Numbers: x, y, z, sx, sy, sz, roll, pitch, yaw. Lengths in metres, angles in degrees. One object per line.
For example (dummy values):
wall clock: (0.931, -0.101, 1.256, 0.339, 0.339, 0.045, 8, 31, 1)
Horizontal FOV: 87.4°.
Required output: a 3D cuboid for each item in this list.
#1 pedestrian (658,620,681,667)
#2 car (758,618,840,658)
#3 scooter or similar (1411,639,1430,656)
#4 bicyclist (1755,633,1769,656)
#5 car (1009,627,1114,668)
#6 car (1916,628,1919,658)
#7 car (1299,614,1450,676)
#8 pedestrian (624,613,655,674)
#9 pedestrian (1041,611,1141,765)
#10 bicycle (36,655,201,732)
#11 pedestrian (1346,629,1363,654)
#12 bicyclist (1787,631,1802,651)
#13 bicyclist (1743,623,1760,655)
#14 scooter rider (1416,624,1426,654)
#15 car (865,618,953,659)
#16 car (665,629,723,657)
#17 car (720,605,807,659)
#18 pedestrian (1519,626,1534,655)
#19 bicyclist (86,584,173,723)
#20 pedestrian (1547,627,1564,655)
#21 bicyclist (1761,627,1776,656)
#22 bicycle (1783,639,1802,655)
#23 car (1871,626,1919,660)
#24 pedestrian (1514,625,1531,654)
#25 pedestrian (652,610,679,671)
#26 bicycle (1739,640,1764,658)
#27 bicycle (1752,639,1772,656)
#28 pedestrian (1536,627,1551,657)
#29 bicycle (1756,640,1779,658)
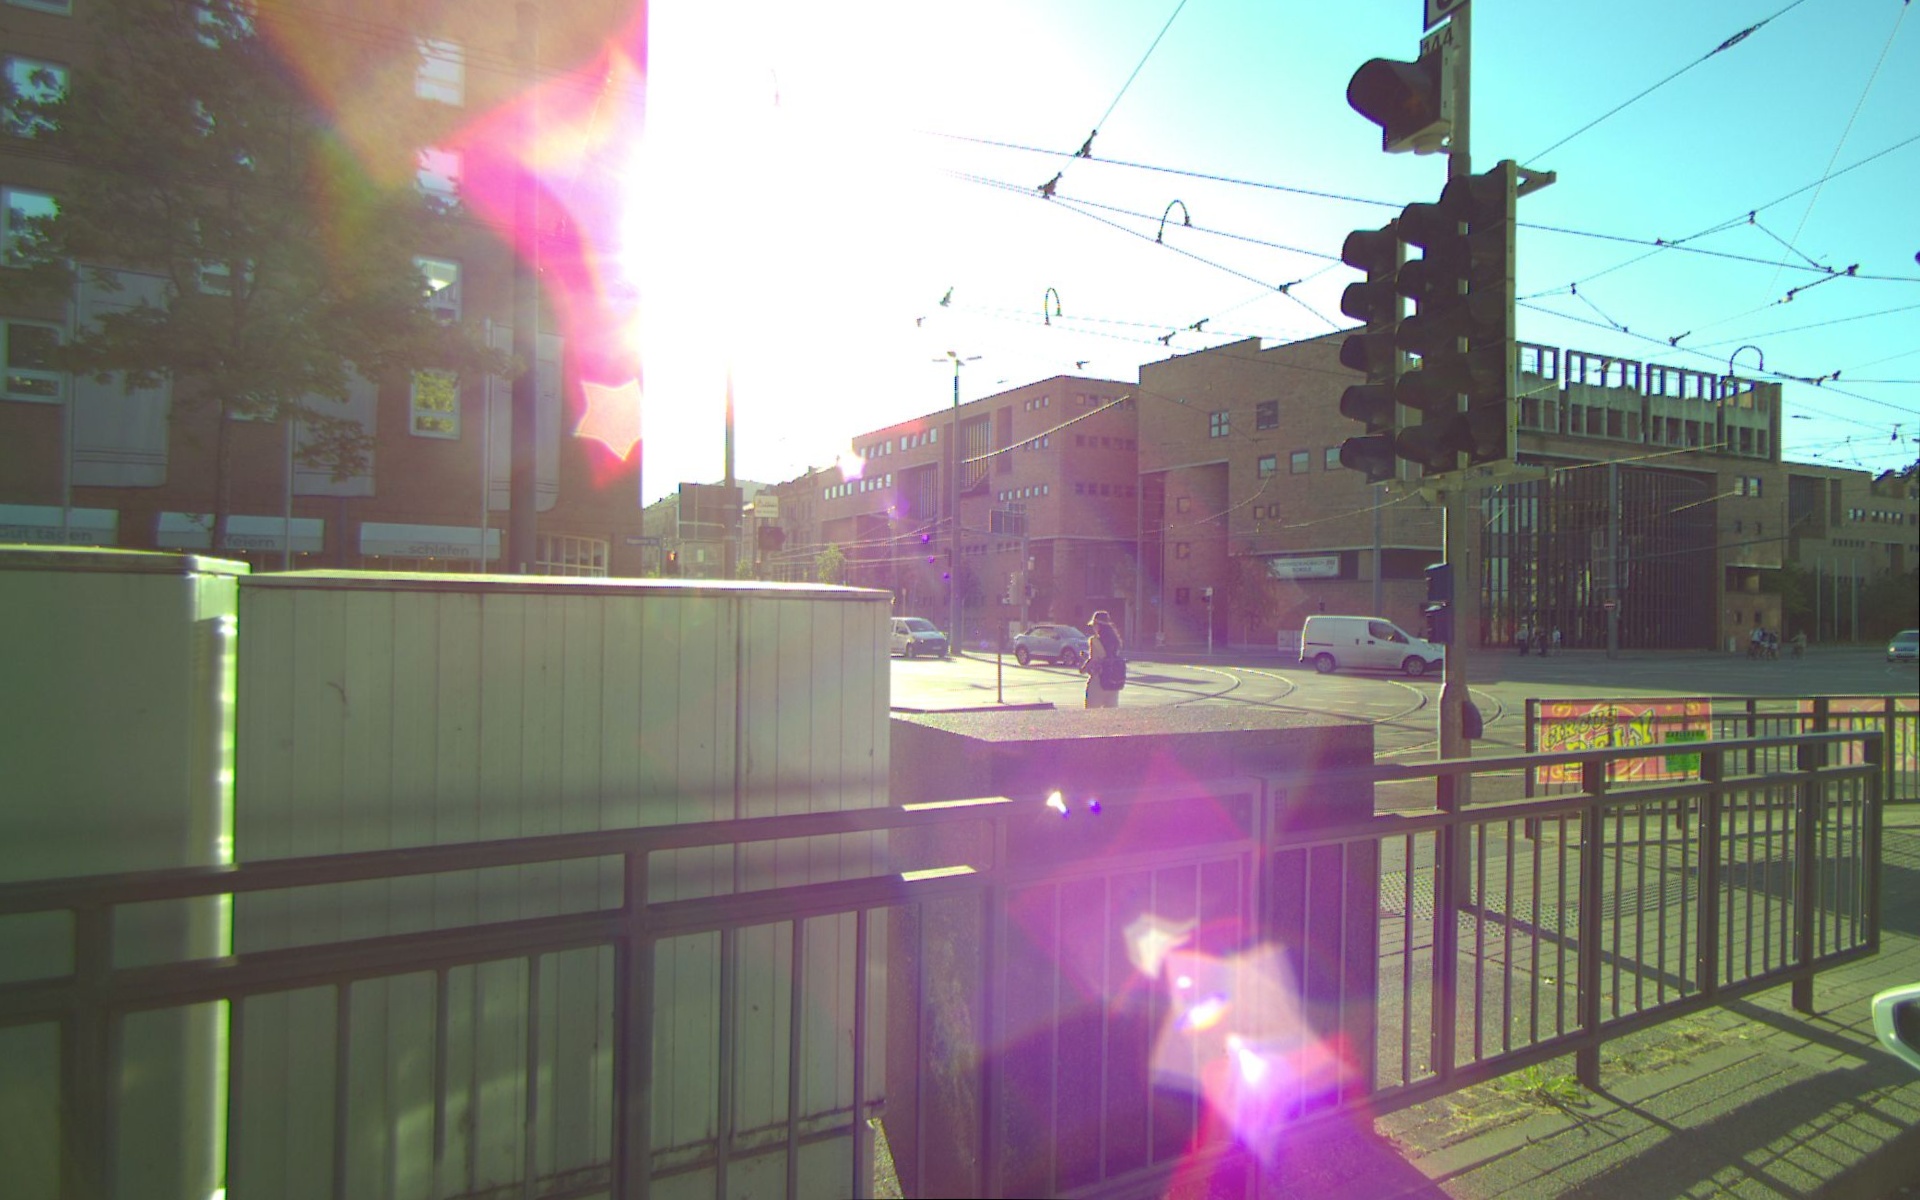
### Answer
pedestrian: (-10.550, 1.580, 36.484, 0.658, 1.669, 0.638, 1, -1, -34)
car: (-8.349, 1.906, 51.700, 1.982, 1.928, 5.156, 1, -2, -38)
scooter or similar: (25.371, 2.638, 55.373, 0.931, 0.911, 0.176, 0, -1, 14)
bicyclist: (46.658, 2.601, 58.438, 0.574, 1.321, 0.503, 1, -1, -30)
car: (3.842, 1.772, 38.446, 1.619, 1.445, 4.056, 1, -2, -40)
car: (55.238, 2.381, 55.894, 3.954, 1.661, 1.984, 1, -2, -31)
car: (13.479, 1.432, 32.726, 4.440, 1.891, 1.760, 0, -1, 26)
pedestrian: (-9.767, 1.318, 30.602, 0.713, 1.837, 0.904, 1, -1, -28)
pedestrian: (1.489, 0.973, 11.486, 0.709, 1.669, 0.953, 1, -1, -30)
bicycle: (-11.963, 1.312, 14.339, 1.729, 1.017, 0.448, 1, -1, -25)
pedestrian: (22.248, 2.338, 56.701, 0.670, 1.357, 0.603, 1, -1, -14)
bicyclist: (49.454, 2.421, 59.502, 0.574, 1.194, 0.503, 1, -1, -30)
bicyclist: (44.416, 2.185, 56.362, 0.574, 1.754, 0.534, 1, -1, -30)
scooter rider: (25.416, 2.161, 55.383, 0.429, 1.669, 0.229, 0, -1, 15)
car: (-2.538, 1.814, 48.588, 1.946, 1.873, 5.284, 1, -2, -32)
car: (-14.361, 2.287, 54.043, 1.729, 1.372, 3.960, 1, -2, -36)
car: (-9.438, 1.514, 47.921, 1.982, 2.419, 5.156, 1, -2, -38)
pedestrian: (34.158, 2.446, 60.563, 0.541, 1.706, 0.571, 1, -1, -22)
bicyclist: (-11.815, 0.749, 14.317, 0.802, 1.929, 0.569, 1, -1, -25)
pedestrian: (34.935, 2.399, 58.946, 0.608, 1.647, 0.611, 1, -1, -16)
bicyclist: (44.962, 2.306, 55.868, 0.574, 1.624, 0.456, 1, -1, -30)
bicycle: (49.381, 2.775, 59.571, 1.332, 0.976, 0.449, 1, -1, -30)
car: (48.977, 2.194, 51.780, 3.954, 1.661, 1.984, 1, -2, -31)
pedestrian: (32.928, 2.302, 58.773, 0.615, 1.706, 0.645, 1, -1, -33)
pedestrian: (-9.109, 1.237, 31.059, 0.647, 1.864, 0.835, 1, -1, -28)
bicycle: (44.422, 2.742, 56.366, 1.568, 0.976, 0.539, 1, -1, -30)
bicycle: (46.666, 2.774, 58.458, 1.304, 0.976, 0.465, 1, -1, -30)
pedestrian: (33.689, 2.418, 57.989, 0.546, 1.706, 0.586, 1, -1, -36)
bicycle: (44.906, 2.736, 55.837, 1.557, 0.976, 0.470, 1, -1, -30)
